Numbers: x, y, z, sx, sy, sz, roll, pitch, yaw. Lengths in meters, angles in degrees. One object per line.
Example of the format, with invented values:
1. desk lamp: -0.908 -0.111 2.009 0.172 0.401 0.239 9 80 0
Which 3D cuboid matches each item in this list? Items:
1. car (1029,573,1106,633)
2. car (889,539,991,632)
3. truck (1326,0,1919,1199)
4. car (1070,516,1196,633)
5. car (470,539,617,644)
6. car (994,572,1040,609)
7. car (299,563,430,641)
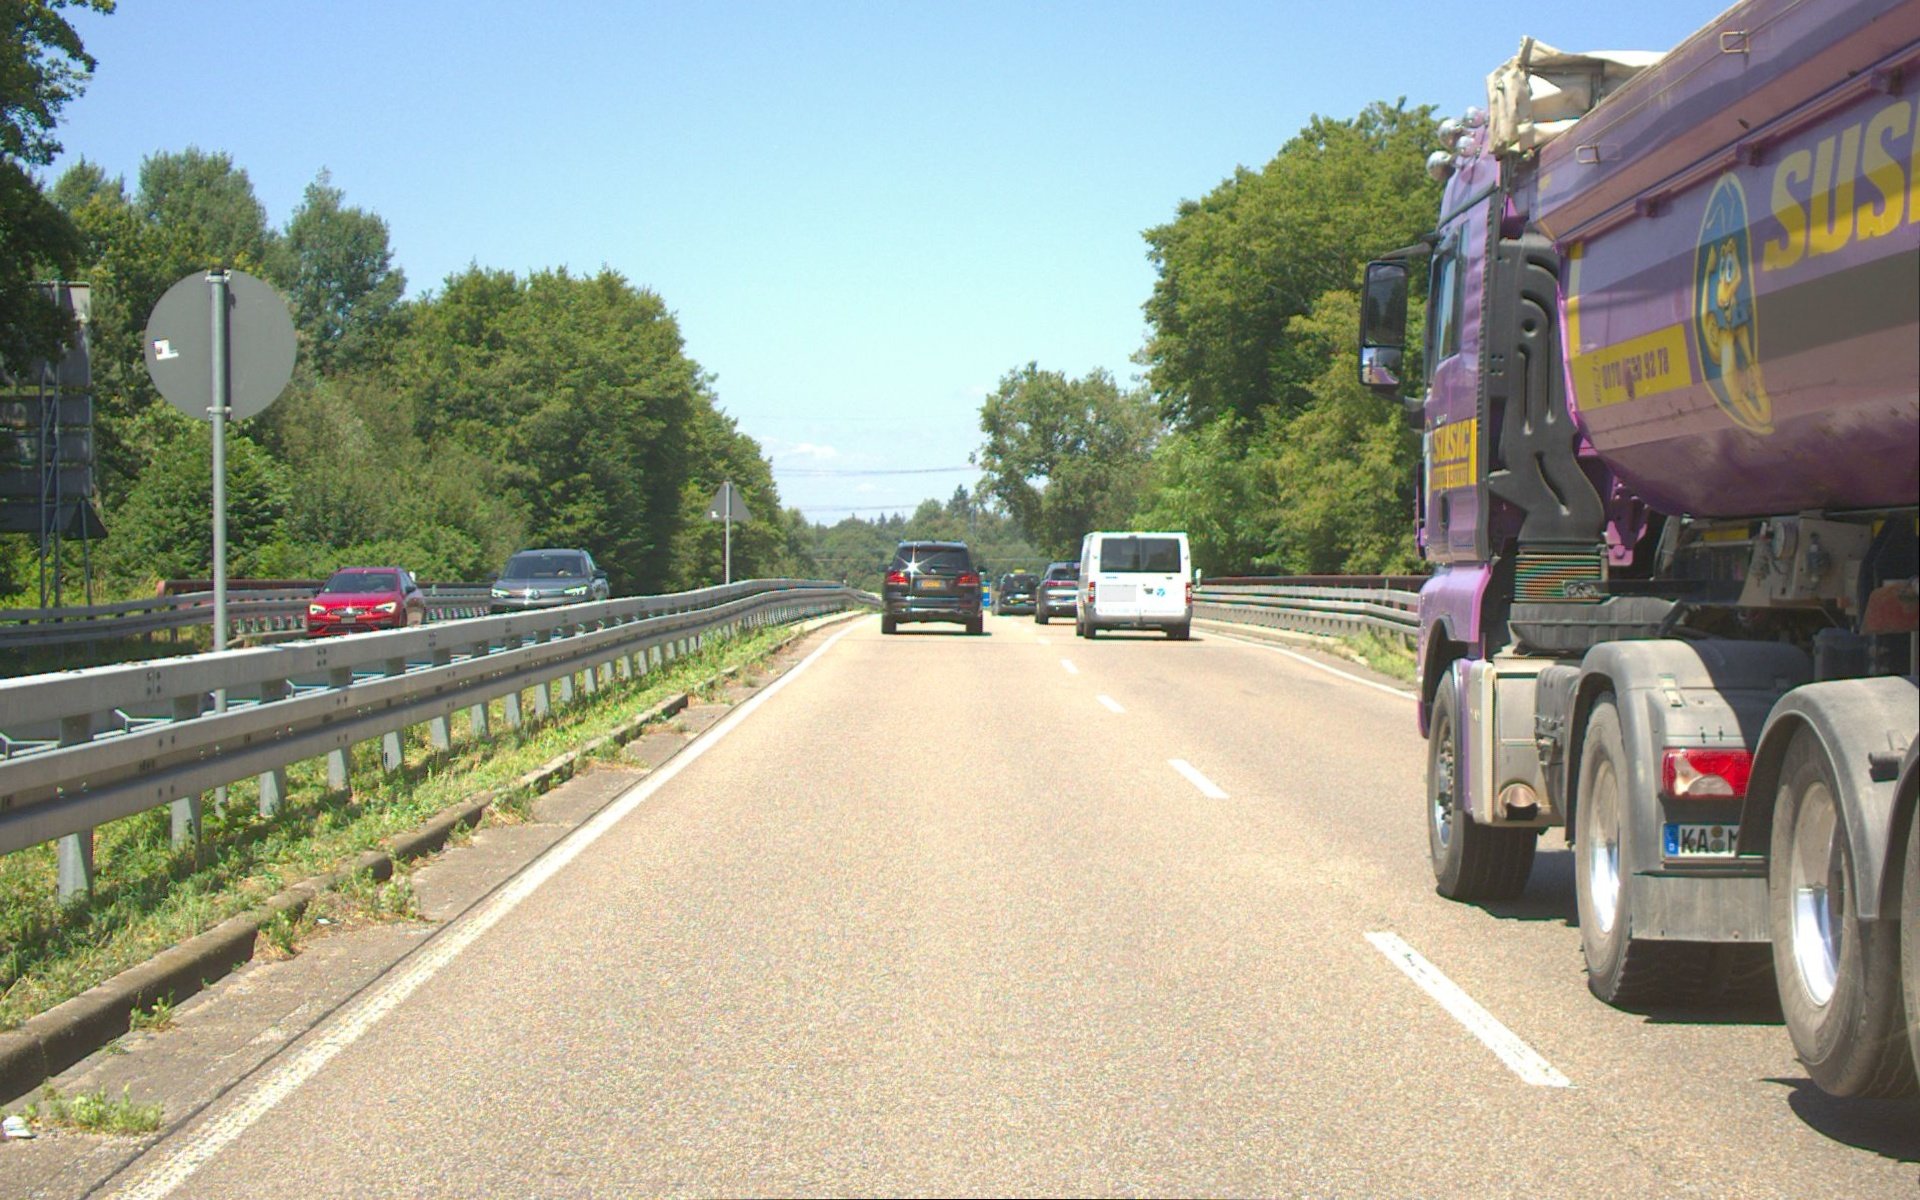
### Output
1. car: 2.646 0.055 85.260 1.603 1.415 3.523 -1 1 -3
2. car: -0.411 -0.254 66.015 1.857 1.666 4.000 1 -1 -1
3. truck: 3.337 -0.568 10.986 2.720 3.917 12.371 1 1 -1
4. car: 3.178 -0.481 63.904 1.993 2.070 4.000 -1 1 -2
5. car: -7.441 -0.177 61.846 1.993 1.788 4.748 -1 1 1
6. car: 2.286 -0.384 137.625 1.603 1.415 3.523 -1 1 -3
7. car: -11.117 0.020 64.380 1.797 1.386 4.000 -1 1 -1
